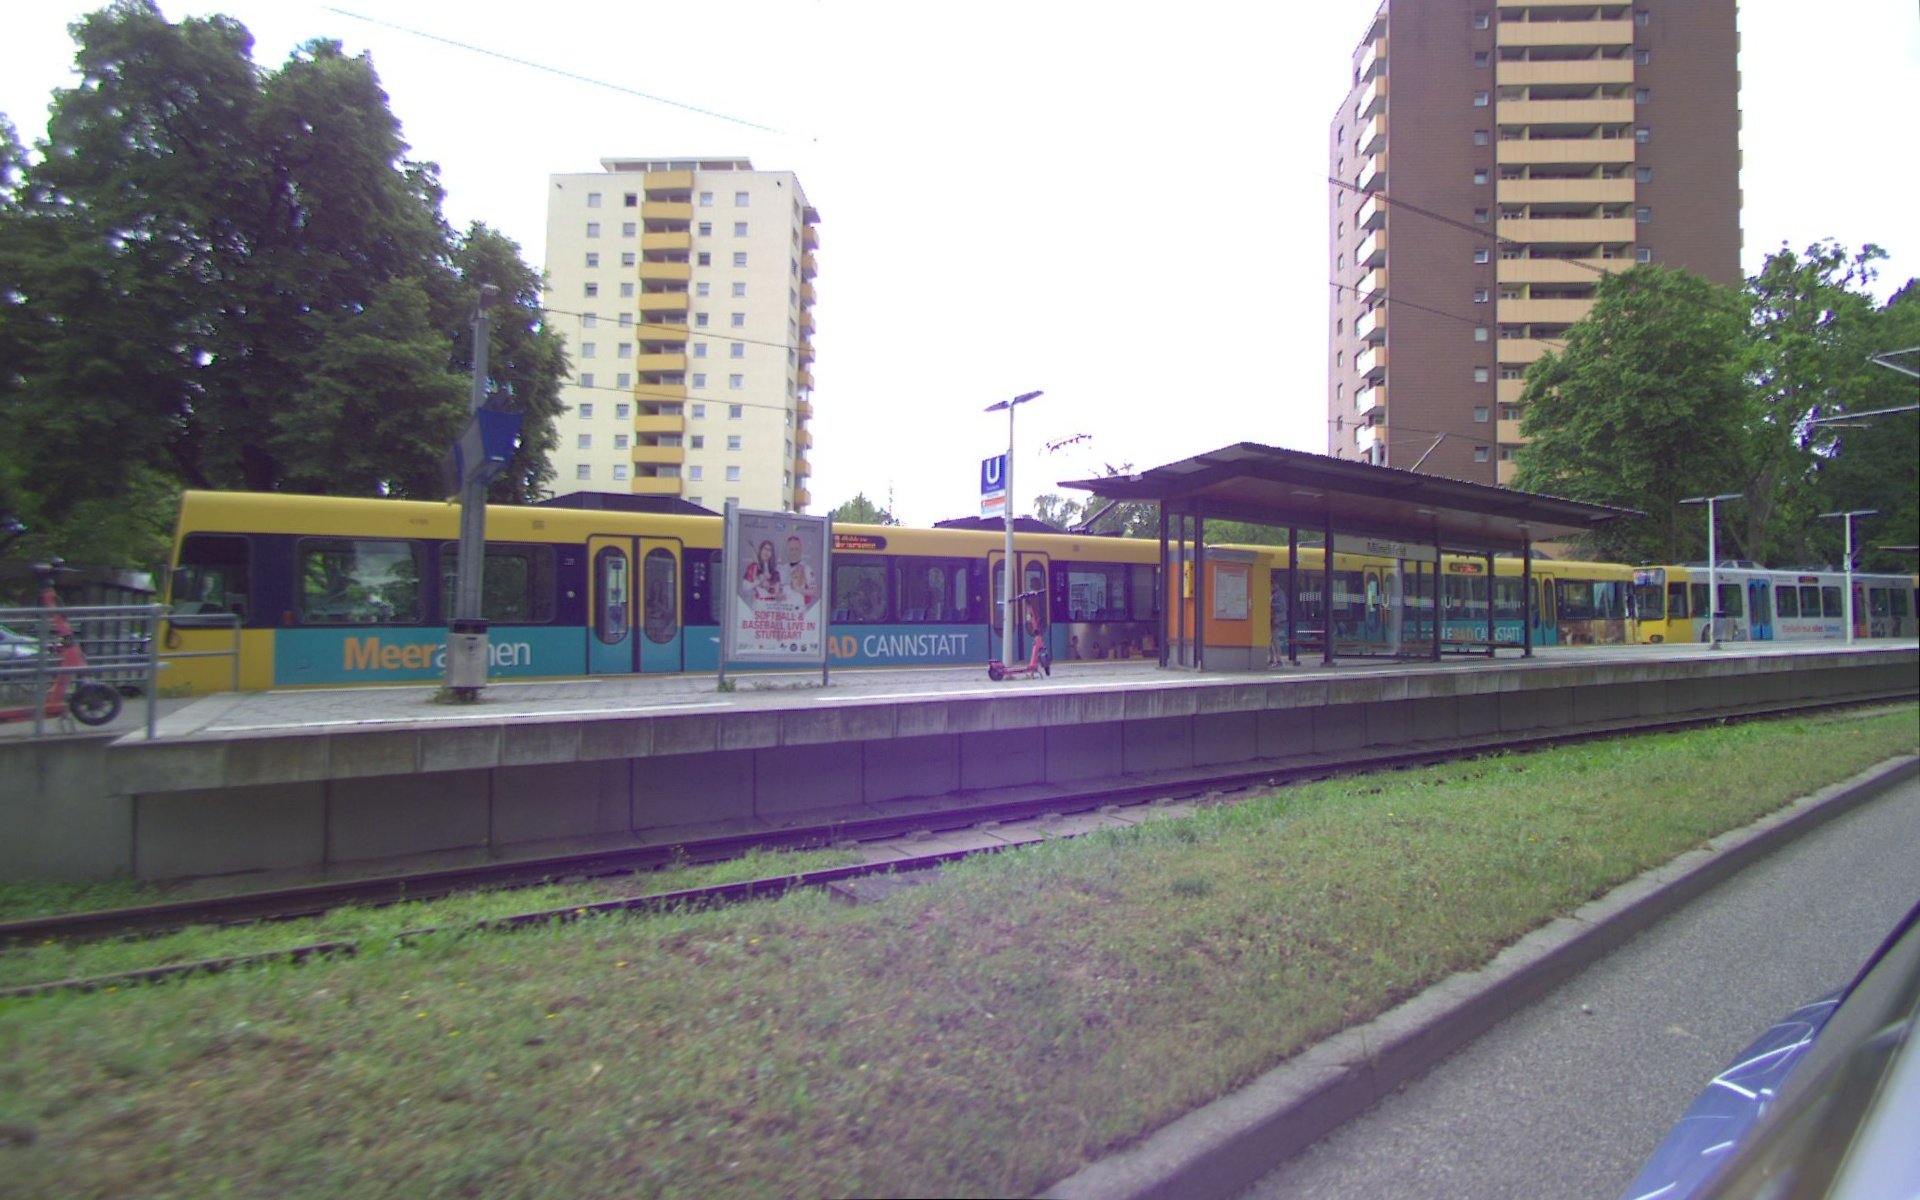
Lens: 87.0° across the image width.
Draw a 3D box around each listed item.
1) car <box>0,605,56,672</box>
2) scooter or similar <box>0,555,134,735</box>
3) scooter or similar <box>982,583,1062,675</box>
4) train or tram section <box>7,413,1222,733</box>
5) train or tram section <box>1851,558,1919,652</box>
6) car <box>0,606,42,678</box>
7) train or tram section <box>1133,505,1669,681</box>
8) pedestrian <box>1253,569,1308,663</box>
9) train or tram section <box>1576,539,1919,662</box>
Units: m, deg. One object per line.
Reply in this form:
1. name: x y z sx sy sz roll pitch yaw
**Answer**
1. car: -30.997 1.186 31.180 4.364 2.039 1.906 0 0 -32
2. scooter or similar: -6.836 0.316 7.374 1.233 1.269 0.430 -2 1 -41
3. scooter or similar: 0.880 0.399 14.318 1.123 1.258 0.369 1 -2 -32
4. train or tram section: -3.331 -0.174 17.706 19.127 3.636 2.823 1 -3 -32
5. train or tram section: 46.519 0.257 44.991 18.145 3.786 2.826 0 -3 -24
6. car: -29.255 1.196 29.089 3.921 2.039 1.906 0 0 -31
7. train or tram section: 13.092 -0.019 27.834 19.124 3.786 2.824 1 -3 -31
8. pedestrian: 5.537 0.268 17.503 0.651 1.593 0.625 0 -1 -14
9. train or tram section: 29.741 0.125 37.020 18.544 3.849 2.825 0 -3 -27
